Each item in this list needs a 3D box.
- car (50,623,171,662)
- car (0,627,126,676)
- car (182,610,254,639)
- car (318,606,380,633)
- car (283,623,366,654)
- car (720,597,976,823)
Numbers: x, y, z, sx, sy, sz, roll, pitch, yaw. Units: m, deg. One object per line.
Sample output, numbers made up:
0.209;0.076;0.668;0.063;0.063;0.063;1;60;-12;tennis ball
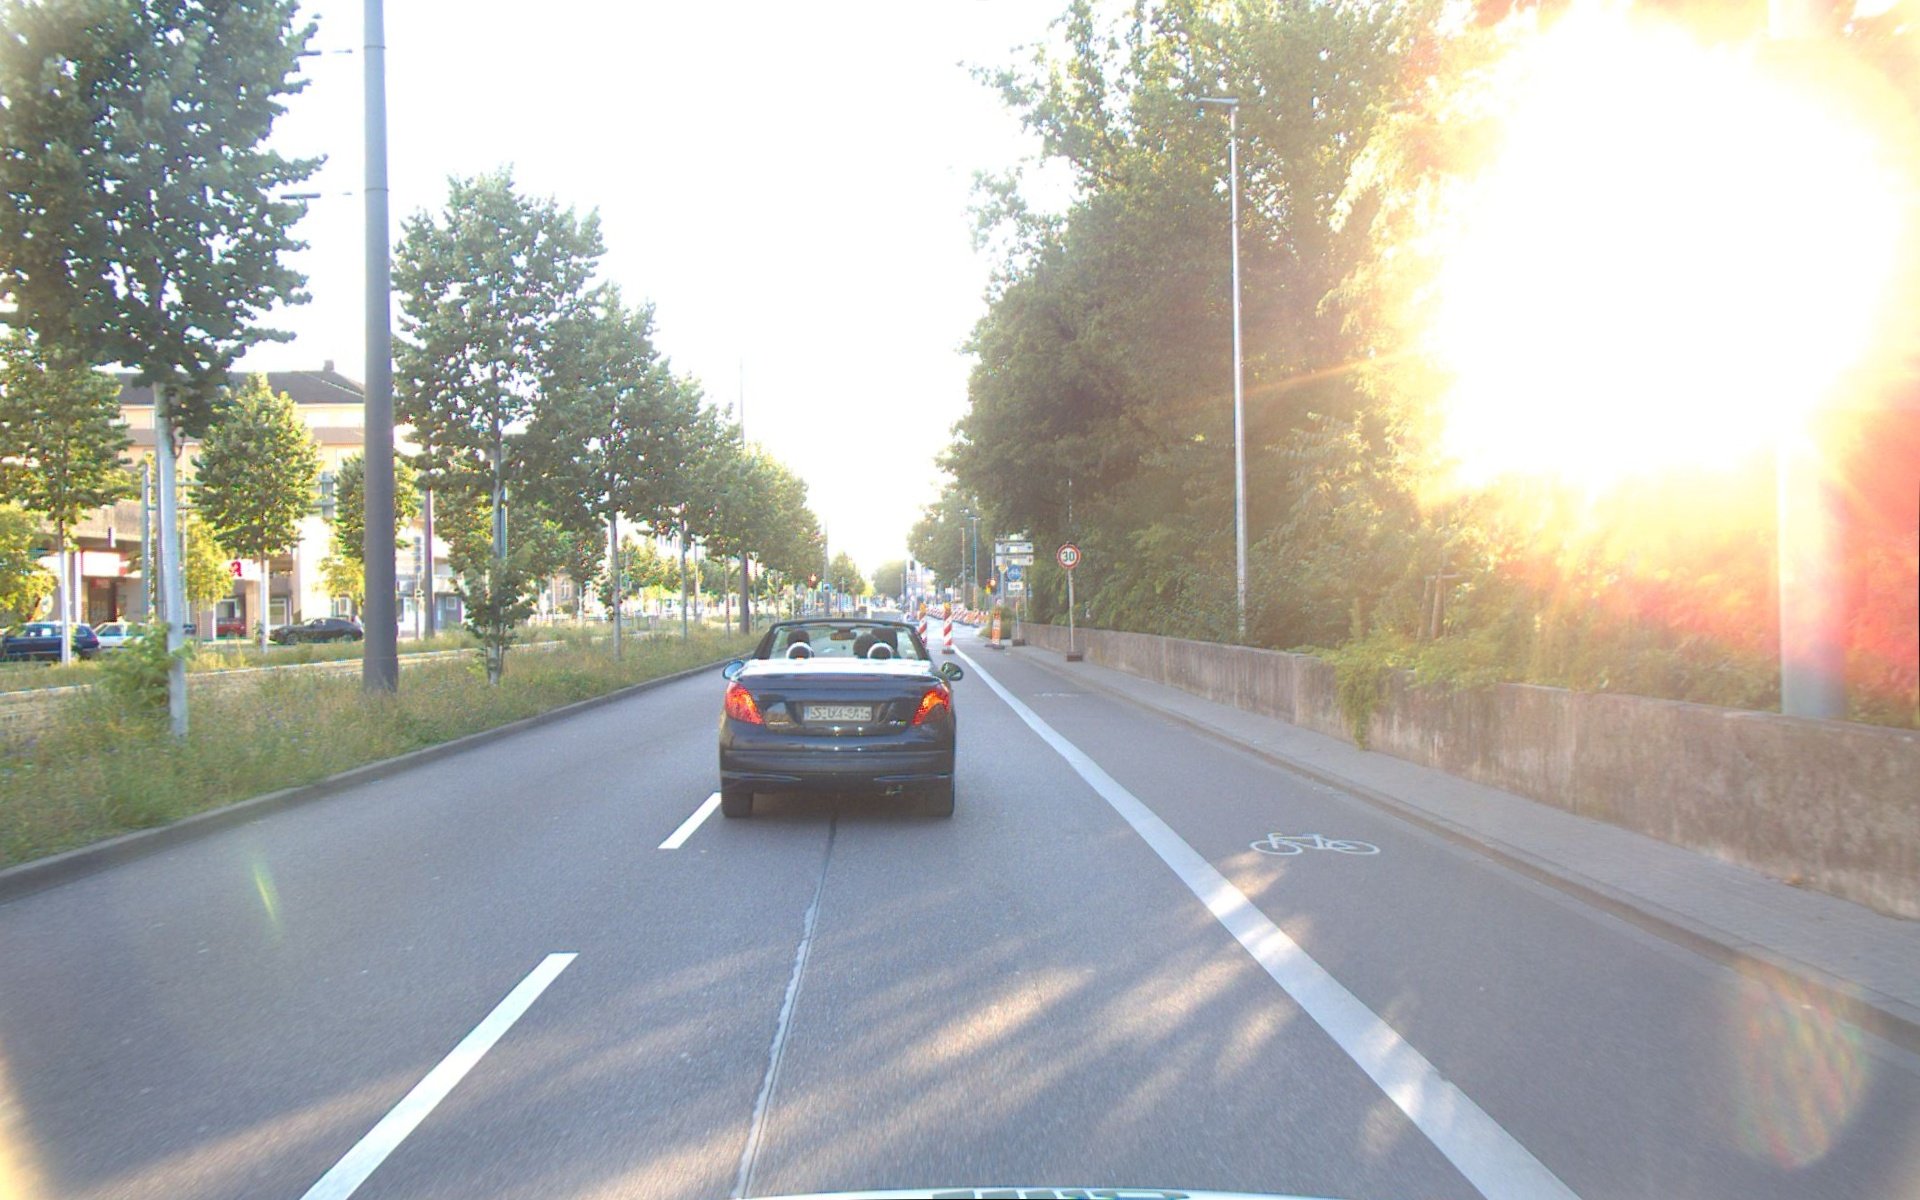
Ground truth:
-33.566;1.687;65.396;4.080;1.461;1.804;1;0;-34;car
-32.599;1.828;59.517;4.249;1.618;1.978;0;-1;-42;car
-54.374;1.796;121.287;4.245;1.800;2.164;-3;1;-5;car
-45.552;1.431;123.410;3.855;1.878;2.190;-1;0;-3;car
-33.516;2.028;87.291;3.698;1.475;1.717;-2;-2;-42;car
-0.959;0.731;12.862;1.686;1.475;3.895;0;0;-7;car
